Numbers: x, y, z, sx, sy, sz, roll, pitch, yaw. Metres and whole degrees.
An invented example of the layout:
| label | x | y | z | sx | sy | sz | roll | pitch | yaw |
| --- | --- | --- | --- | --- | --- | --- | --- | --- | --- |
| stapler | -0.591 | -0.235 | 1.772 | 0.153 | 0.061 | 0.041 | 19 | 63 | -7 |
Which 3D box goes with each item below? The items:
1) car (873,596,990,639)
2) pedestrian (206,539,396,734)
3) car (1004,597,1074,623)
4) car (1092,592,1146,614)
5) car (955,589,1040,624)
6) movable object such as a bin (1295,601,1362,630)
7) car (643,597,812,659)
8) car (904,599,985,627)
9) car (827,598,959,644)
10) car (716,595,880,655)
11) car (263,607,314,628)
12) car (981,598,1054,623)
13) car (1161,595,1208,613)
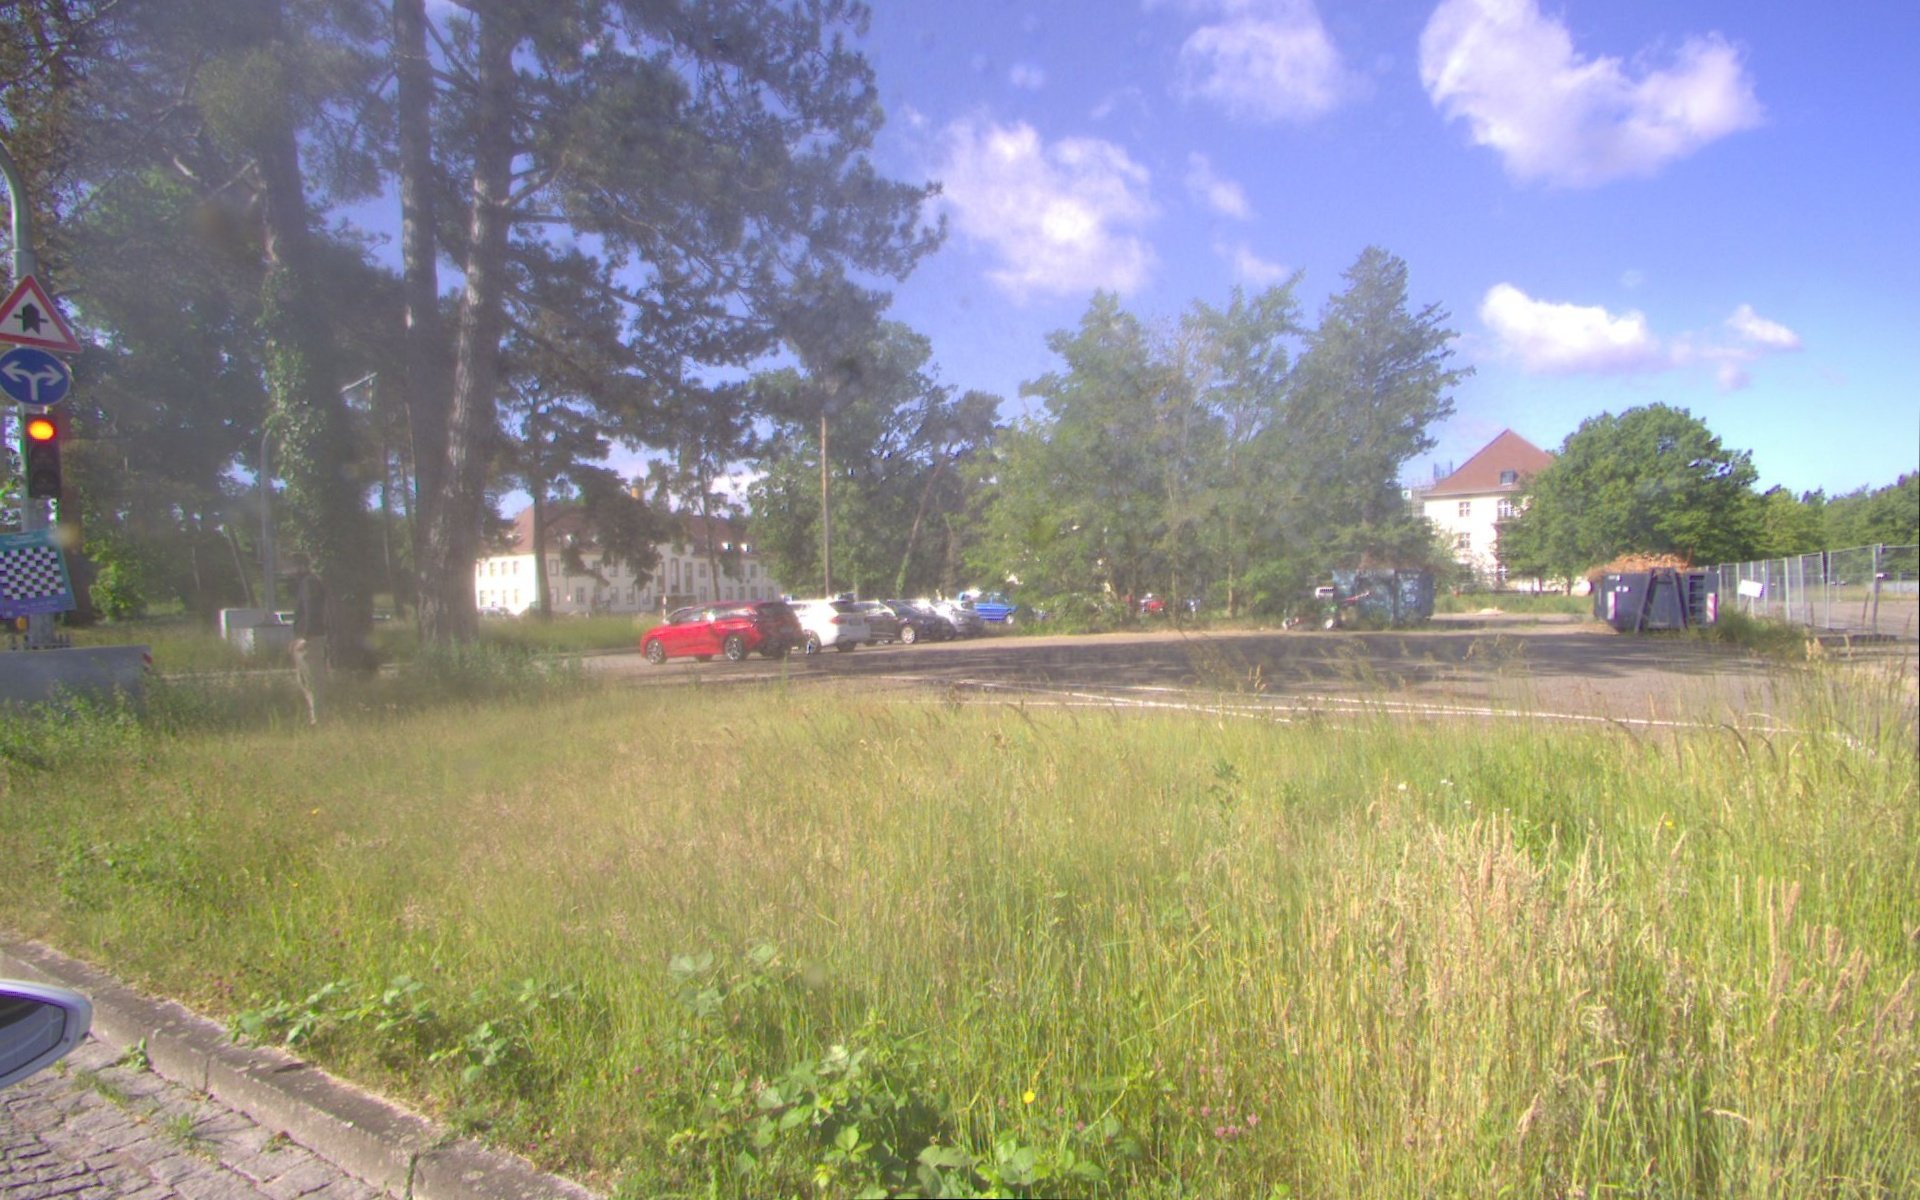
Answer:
| label | x | y | z | sx | sy | sz | roll | pitch | yaw |
| --- | --- | --- | --- | --- | --- | --- | --- | --- | --- |
| car | -0.986 | 0.607 | 34.478 | 3.739 | 1.390 | 1.720 | -1 | -1 | 34 |
| pedestrian | -6.559 | 0.346 | 10.019 | 1.151 | 1.820 | 1.060 | -1 | 1 | 19 |
| car | 5.055 | 0.650 | 64.125 | 4.180 | 1.568 | 1.720 | -1 | -1 | 32 |
| car | 11.998 | 0.265 | 75.734 | 3.681 | 1.568 | 1.705 | -1 | -1 | 32 |
| car | 2.190 | 0.400 | 59.199 | 4.676 | 1.973 | 1.982 | -1 | -1 | 32 |
| movable object such as a bin | 10.506 | 0.447 | 28.540 | 1.696 | 0.762 | 1.143 | -1 | 0 | 25 |
| car | -5.758 | 0.712 | 24.655 | 4.071 | 1.417 | 1.652 | -2 | -1 | 32 |
| car | -0.874 | 0.711 | 55.085 | 4.180 | 1.487 | 1.720 | -1 | -1 | 32 |
| car | -2.137 | 0.661 | 31.782 | 3.987 | 1.332 | 1.612 | -1 | 1 | 33 |
| car | -4.426 | 0.689 | 27.216 | 4.179 | 1.396 | 1.776 | -3 | -1 | 30 |
| car | -53.022 | 1.376 | 79.079 | 4.102 | 1.603 | 1.823 | -1 | 1 | 32 |
| car | 3.512 | 0.648 | 61.523 | 4.180 | 1.443 | 1.720 | -1 | -1 | 32 |
| car | 19.636 | 0.370 | 87.549 | 3.681 | 1.568 | 1.705 | -1 | -1 | 32 |
